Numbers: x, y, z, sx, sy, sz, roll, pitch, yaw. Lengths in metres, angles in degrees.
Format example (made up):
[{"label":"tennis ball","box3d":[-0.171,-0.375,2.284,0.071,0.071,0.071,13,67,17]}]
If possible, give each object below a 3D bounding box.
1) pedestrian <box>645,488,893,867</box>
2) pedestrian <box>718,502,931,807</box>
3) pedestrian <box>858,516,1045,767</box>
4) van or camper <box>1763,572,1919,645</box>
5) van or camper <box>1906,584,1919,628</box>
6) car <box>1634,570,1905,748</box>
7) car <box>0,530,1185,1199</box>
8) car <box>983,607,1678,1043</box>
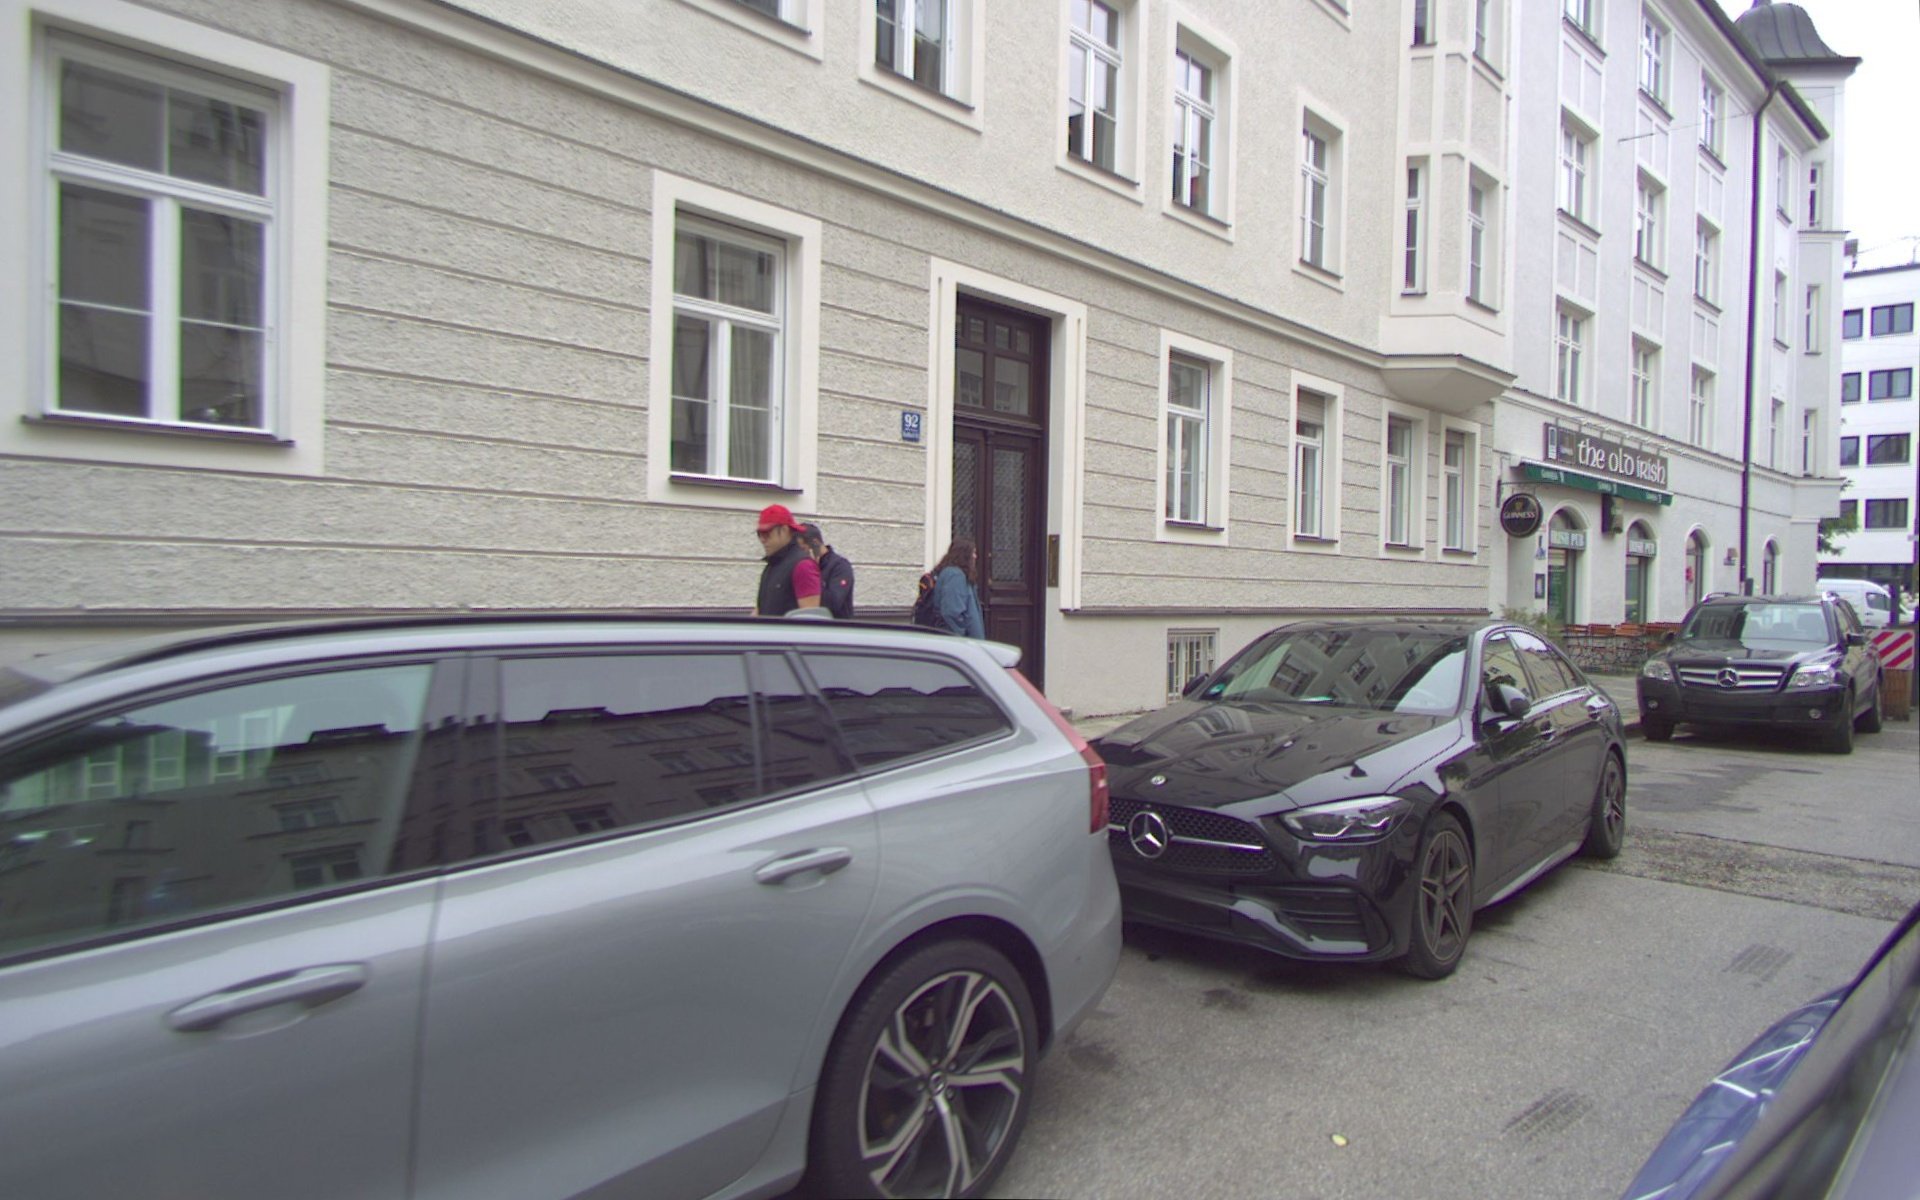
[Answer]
[{"label":"pedestrian","box3d":[-1.066,0.363,5.512,1.088,1.833,0.888,2,2,-25]},{"label":"pedestrian","box3d":[-0.908,0.311,6.642,1.088,1.808,0.888,1,2,-27]},{"label":"pedestrian","box3d":[-0.070,0.286,8.160,1.091,1.834,0.885,1,5,-41]},{"label":"van or camper","box3d":[36.326,0.340,40.930,5.849,2.749,2.268,2,-2,43]},{"label":"van or camper","box3d":[57.276,0.372,59.163,1.954,2.540,5.653,1,1,34]},{"label":"car","box3d":[9.441,0.579,11.686,4.117,1.696,1.802,0,-1,-42]},{"label":"car","box3d":[-1.561,0.683,2.144,4.343,1.505,1.763,1,-2,-41]},{"label":"car","box3d":[2.462,0.761,5.709,1.837,1.417,4.893,-1,-1,45]}]
